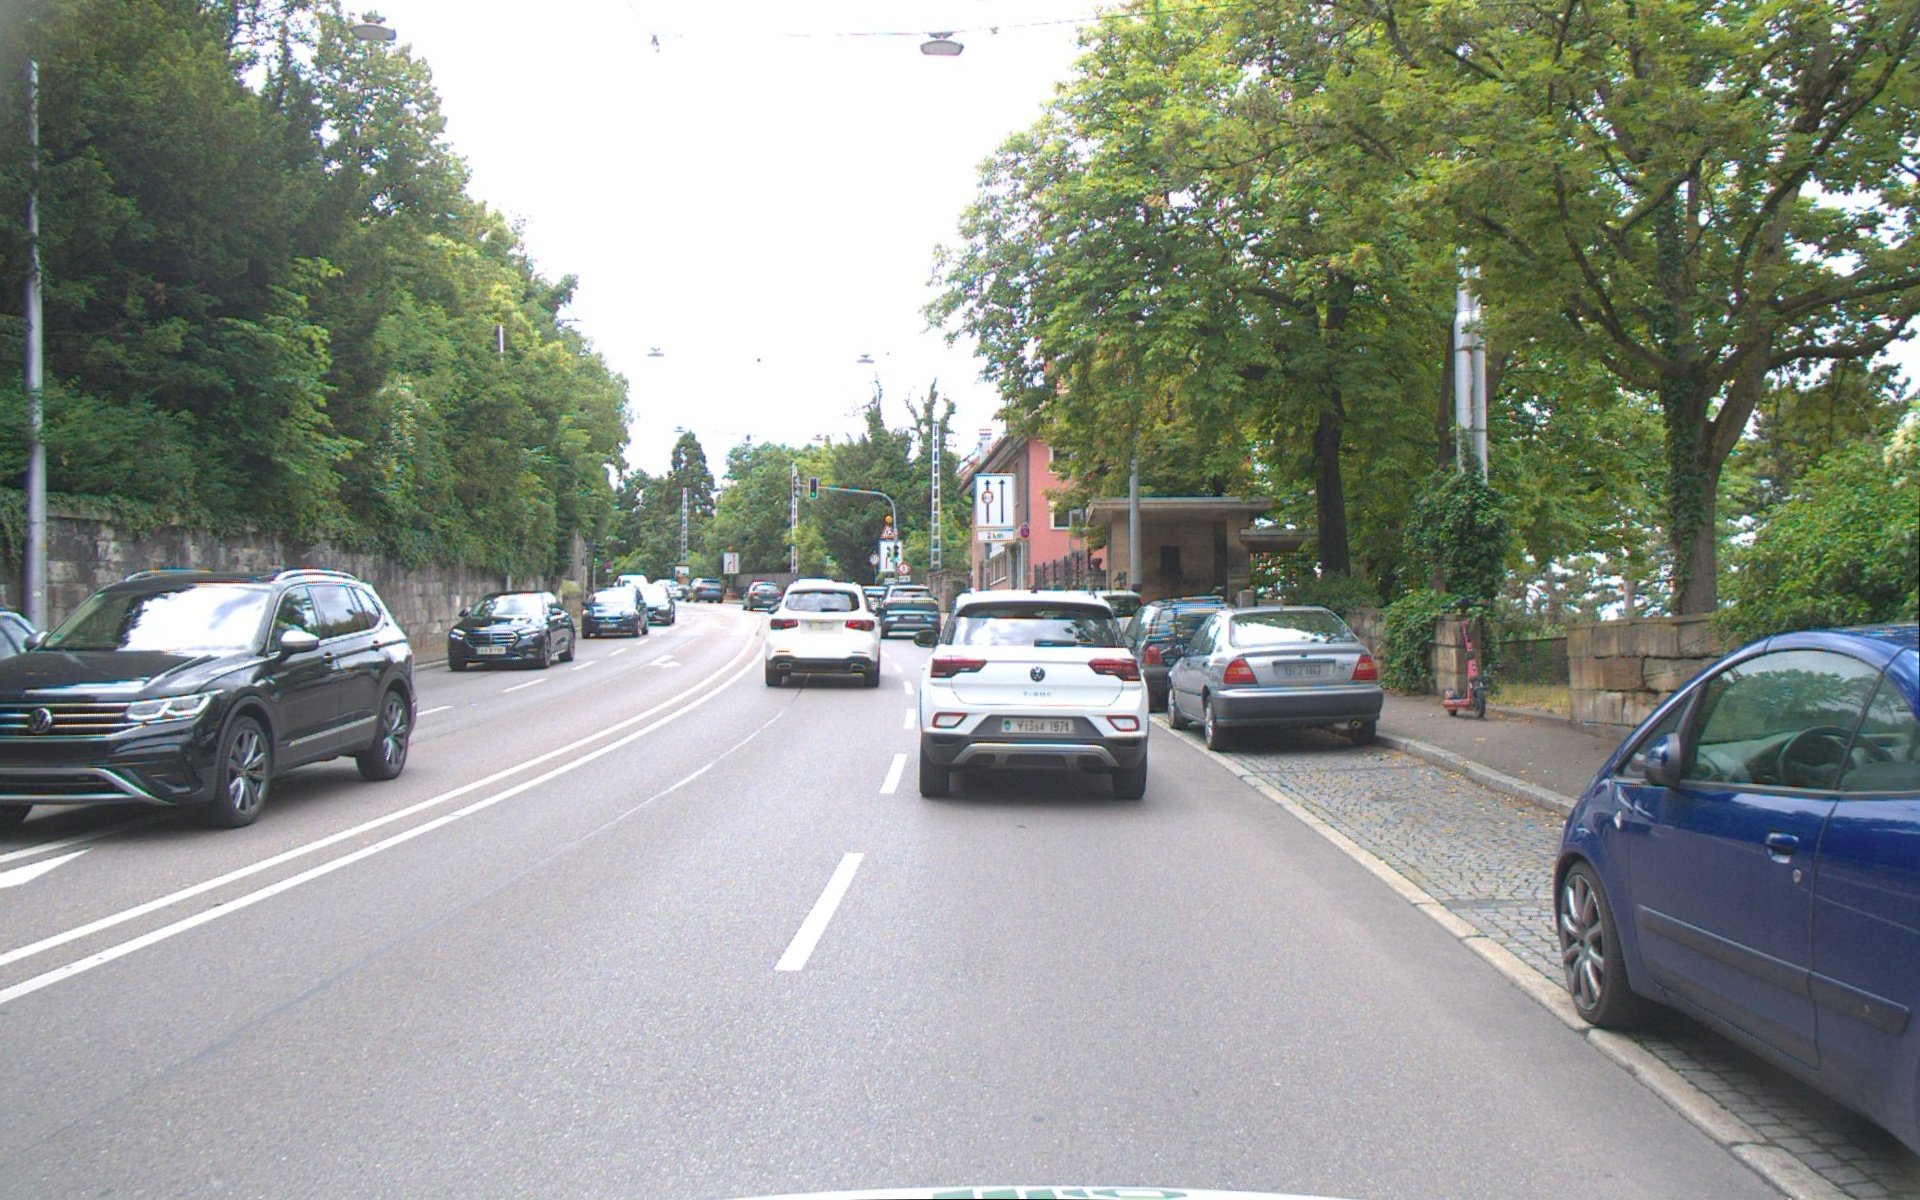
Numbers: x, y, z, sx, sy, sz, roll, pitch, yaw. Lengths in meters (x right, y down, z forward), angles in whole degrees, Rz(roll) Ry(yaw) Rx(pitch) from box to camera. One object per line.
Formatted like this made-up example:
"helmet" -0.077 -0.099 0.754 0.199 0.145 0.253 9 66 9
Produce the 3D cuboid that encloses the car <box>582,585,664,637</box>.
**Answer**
"car" -10.117 0.310 49.894 1.806 1.461 3.998 -1 0 -3

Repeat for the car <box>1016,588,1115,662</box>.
"car" 2.263 0.503 36.455 1.642 1.486 4.363 -2 0 -3

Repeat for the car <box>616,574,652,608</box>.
"car" -18.845 -0.528 95.517 1.860 1.880 4.382 -1 1 -13

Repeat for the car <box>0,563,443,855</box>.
"car" -5.395 0.652 12.000 1.810 1.680 4.624 -1 0 0

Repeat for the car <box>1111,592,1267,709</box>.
"car" 3.138 0.654 23.264 1.530 1.447 3.422 -3 0 -2

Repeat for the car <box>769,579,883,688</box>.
"car" -2.168 0.532 27.534 1.723 1.638 3.793 2 -1 -3

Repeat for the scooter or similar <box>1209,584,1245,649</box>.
"scooter or similar" 5.511 0.331 34.172 0.506 1.282 1.168 -3 0 0

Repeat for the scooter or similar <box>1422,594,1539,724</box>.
"scooter or similar" 5.515 0.598 17.645 0.549 1.265 2.000 -5 0 1

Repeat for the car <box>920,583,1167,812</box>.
"car" 0.605 0.708 13.697 1.722 1.583 3.795 2 -1 0

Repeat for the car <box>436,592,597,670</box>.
"car" -8.796 0.583 33.233 1.961 1.434 4.755 -1 0 0

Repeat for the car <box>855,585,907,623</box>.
"car" -3.187 0.153 66.217 1.954 1.475 4.147 0 0 -4

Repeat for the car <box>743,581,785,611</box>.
"car" -10.027 -0.179 84.477 1.750 1.480 3.987 1 0 -13

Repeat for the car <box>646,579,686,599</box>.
"car" -22.552 -0.845 126.840 1.970 1.475 4.113 0 0 -27

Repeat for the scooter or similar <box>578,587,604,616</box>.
"scooter or similar" -17.086 0.080 76.656 0.425 1.259 1.094 3 -1 35

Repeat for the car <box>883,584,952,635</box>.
"car" -1.266 0.272 49.197 1.953 1.439 4.149 0 0 -2

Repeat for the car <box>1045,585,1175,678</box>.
"car" 2.717 0.523 30.782 1.682 1.497 4.035 -3 1 -4

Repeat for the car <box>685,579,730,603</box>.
"car" -17.575 -0.594 115.120 1.969 1.603 4.116 0 0 -26

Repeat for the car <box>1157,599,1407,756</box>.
"car" 3.288 0.731 17.772 1.734 1.423 4.550 -1 0 0

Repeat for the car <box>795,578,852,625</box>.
"car" -4.902 0.047 59.620 1.954 1.583 4.147 1 0 -4

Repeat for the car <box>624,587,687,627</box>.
"car" -11.410 0.238 62.256 1.806 1.434 4.452 -1 0 -4

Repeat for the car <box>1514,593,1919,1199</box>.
"car" 3.008 0.729 4.735 1.564 1.485 3.942 -2 0 1
